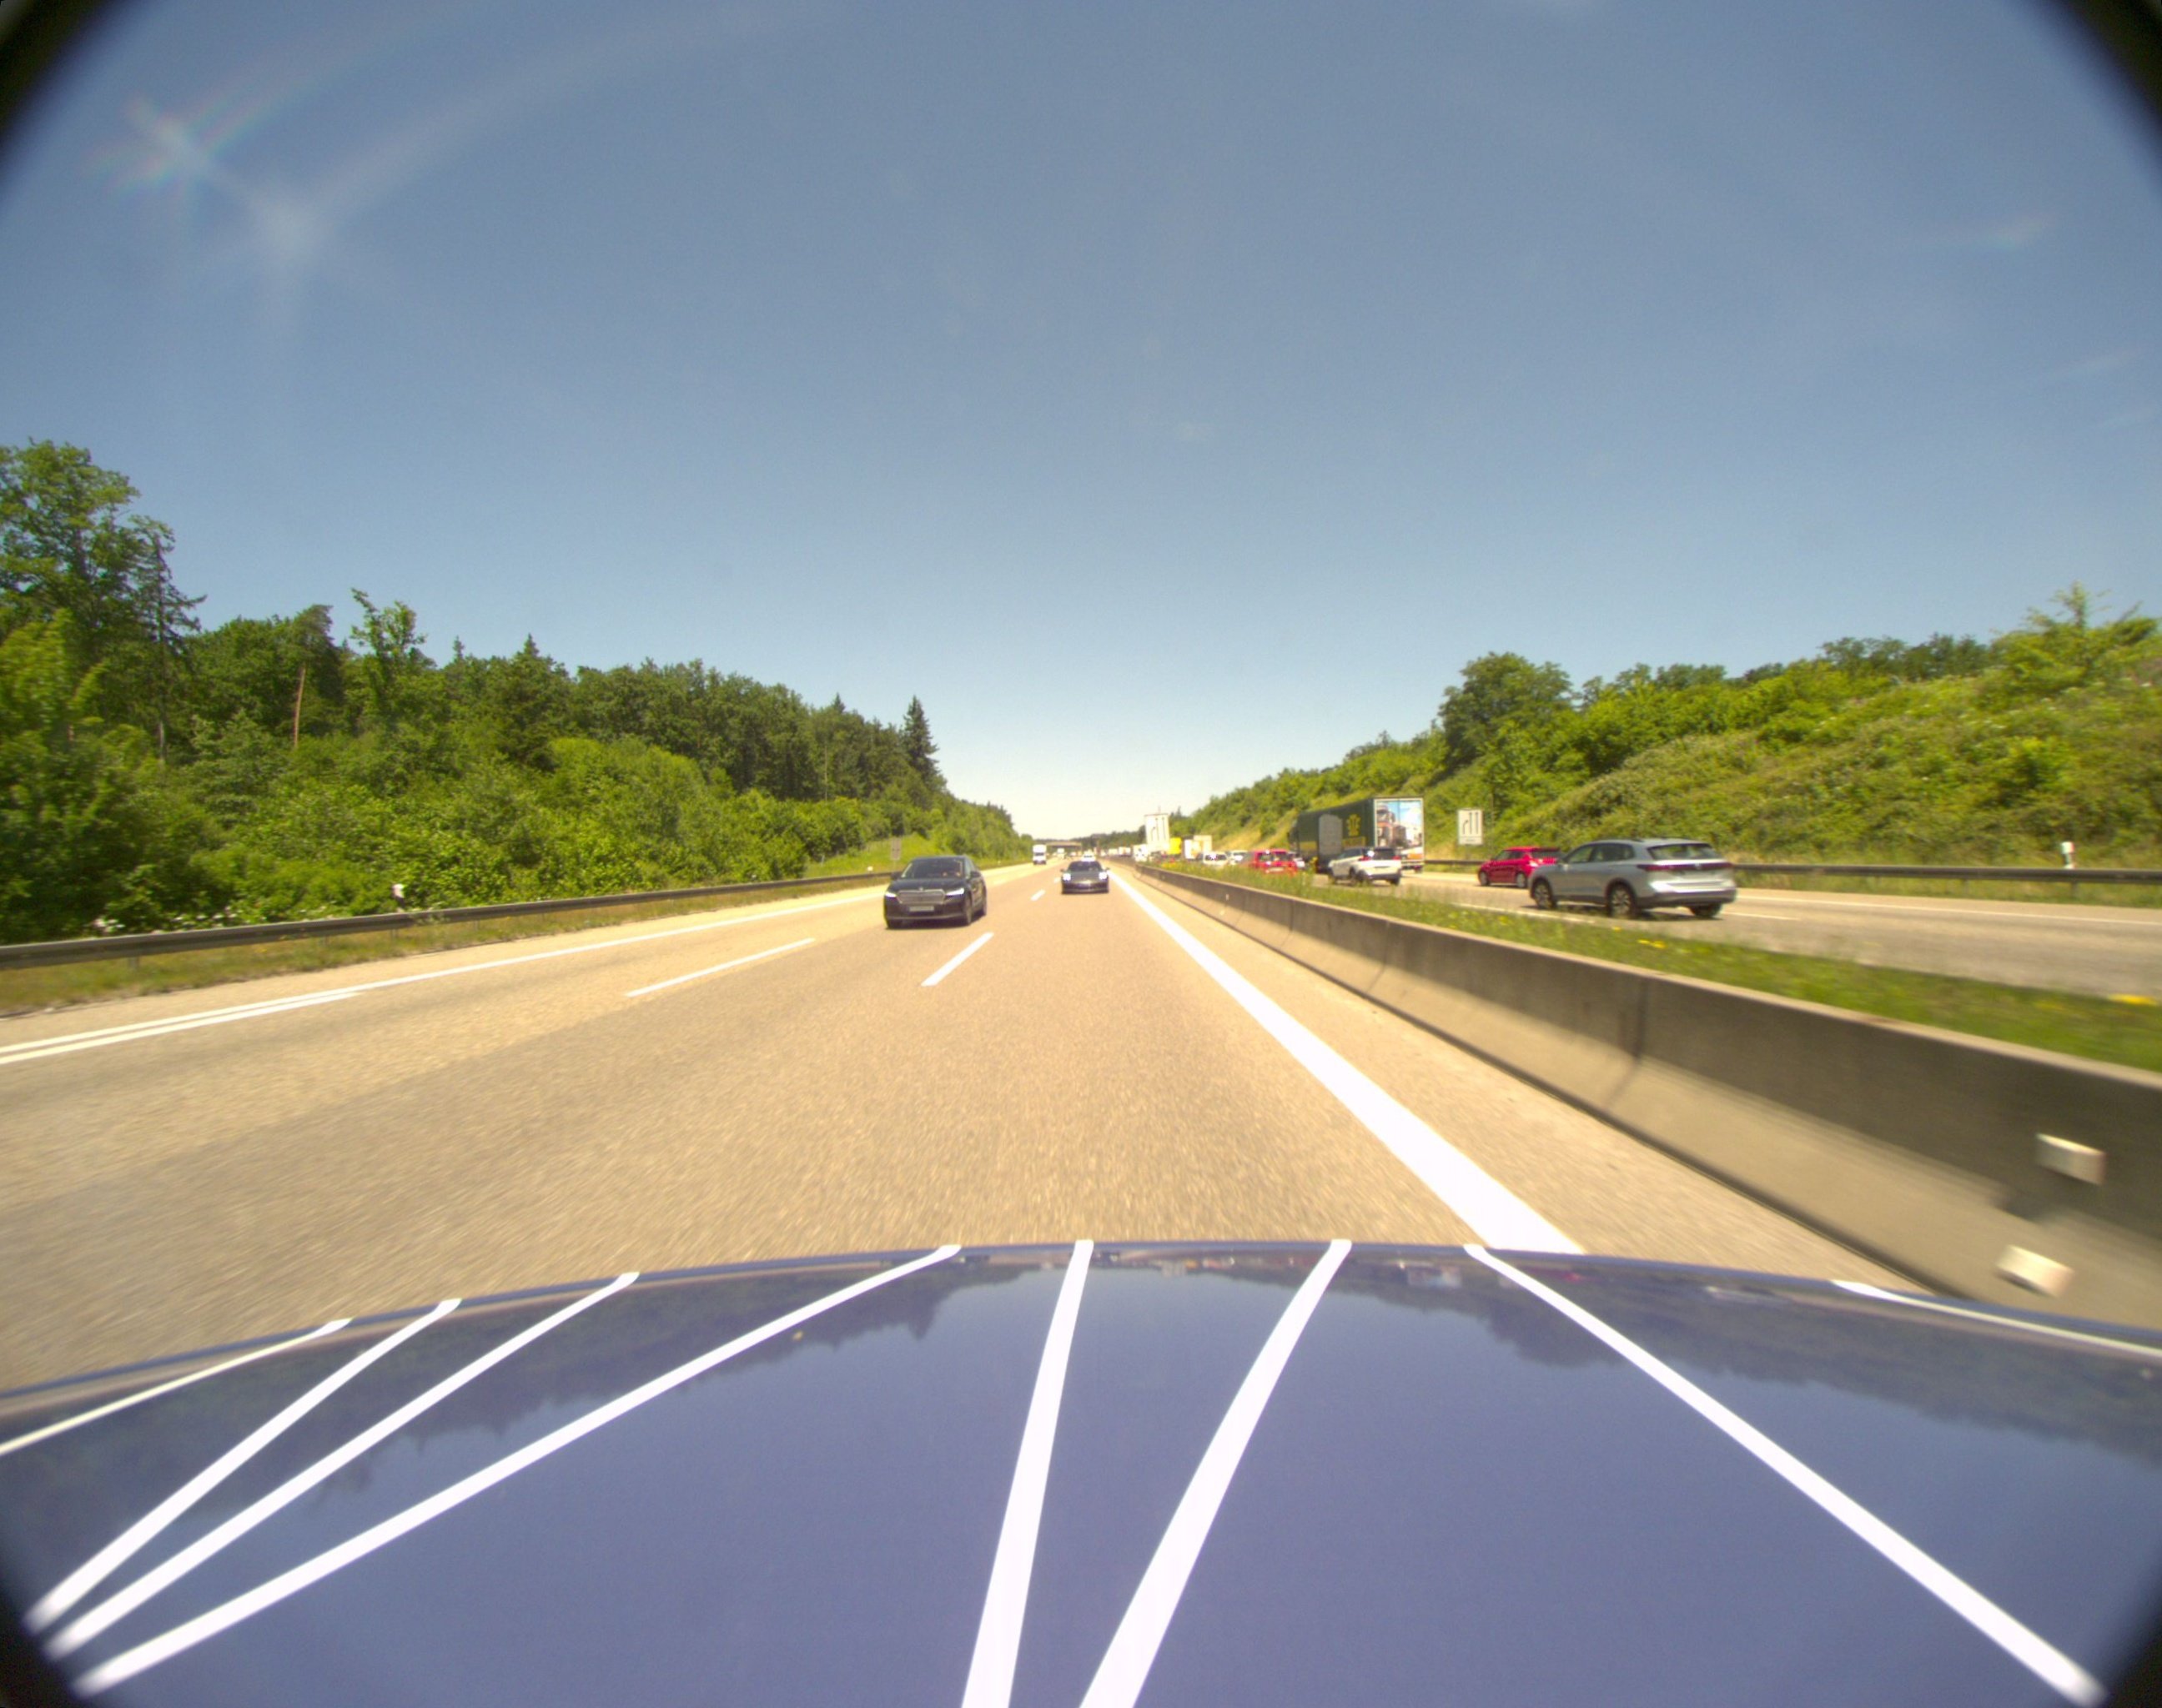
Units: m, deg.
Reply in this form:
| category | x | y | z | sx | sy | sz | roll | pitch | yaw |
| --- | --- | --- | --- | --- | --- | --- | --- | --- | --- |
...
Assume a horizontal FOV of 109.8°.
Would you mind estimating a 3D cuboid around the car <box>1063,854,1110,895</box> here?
| category | x | y | z | sx | sy | sz | roll | pitch | yaw |
| --- | --- | --- | --- | --- | --- | --- | --- | --- | --- |
| car | 0.271 | 0.771 | 31.018 | 1.718 | 1.432 | 4.457 | -2 | 1 | 2 |

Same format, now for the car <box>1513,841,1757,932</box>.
| category | x | y | z | sx | sy | sz | roll | pitch | yaw |
| --- | --- | --- | --- | --- | --- | --- | --- | --- | --- |
| car | 11.683 | 0.555 | 16.567 | 1.816 | 1.620 | 4.908 | -2 | 1 | 1 |

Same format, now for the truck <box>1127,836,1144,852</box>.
| category | x | y | z | sx | sy | sz | roll | pitch | yaw |
| --- | --- | --- | --- | --- | --- | --- | --- | --- | --- |
| truck | 16.147 | -3.055 | 225.801 | 3.706 | 4.431 | 17.377 | -2 | 1 | 0 |

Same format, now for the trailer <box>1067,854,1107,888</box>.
| category | x | y | z | sx | sy | sz | roll | pitch | yaw |
| --- | --- | --- | --- | --- | --- | --- | --- | --- | --- |
| trailer | 0.312 | 0.735 | 34.319 | 1.689 | 1.399 | 3.046 | -1 | 0 | 2 |

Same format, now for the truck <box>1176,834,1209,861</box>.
| category | x | y | z | sx | sy | sz | roll | pitch | yaw |
| --- | --- | --- | --- | --- | --- | --- | --- | --- | --- |
| truck | 12.670 | -0.785 | 86.925 | 2.575 | 2.829 | 6.751 | -2 | 1 | 0 |

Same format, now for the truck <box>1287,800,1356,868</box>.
| category | x | y | z | sx | sy | sz | roll | pitch | yaw |
| --- | --- | --- | --- | --- | --- | --- | --- | --- | --- |
| truck | 16.062 | -1.327 | 51.130 | 2.826 | 4.179 | 5.628 | -2 | 1 | 1 |

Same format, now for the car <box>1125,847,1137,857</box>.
| category | x | y | z | sx | sy | sz | roll | pitch | yaw |
| --- | --- | --- | --- | --- | --- | --- | --- | --- | --- |
| car | 9.387 | -0.484 | 144.176 | 1.832 | 1.754 | 4.989 | -2 | 1 | -1 |

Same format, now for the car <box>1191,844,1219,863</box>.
| category | x | y | z | sx | sy | sz | roll | pitch | yaw |
| --- | --- | --- | --- | --- | --- | --- | --- | --- | --- |
| car | 12.290 | -0.100 | 75.725 | 1.832 | 1.754 | 4.989 | -2 | 1 | -1 |

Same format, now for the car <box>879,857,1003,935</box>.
| category | x | y | z | sx | sy | sz | roll | pitch | yaw |
| --- | --- | --- | --- | --- | --- | --- | --- | --- | --- |
| car | -3.252 | 0.909 | 18.570 | 1.989 | 1.609 | 4.458 | -2 | 0 | 2 |

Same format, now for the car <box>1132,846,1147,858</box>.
| category | x | y | z | sx | sy | sz | roll | pitch | yaw |
| --- | --- | --- | --- | --- | --- | --- | --- | --- | --- |
| car | 8.662 | -0.316 | 112.904 | 1.832 | 1.754 | 4.989 | -2 | 1 | -1 |

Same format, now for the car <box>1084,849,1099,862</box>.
| category | x | y | z | sx | sy | sz | roll | pitch | yaw |
| --- | --- | --- | --- | --- | --- | --- | --- | --- | --- |
| car | 1.297 | 0.171 | 94.305 | 1.719 | 1.432 | 4.456 | -1 | 1 | 0 |

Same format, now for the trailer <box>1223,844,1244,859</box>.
| category | x | y | z | sx | sy | sz | roll | pitch | yaw |
| --- | --- | --- | --- | --- | --- | --- | --- | --- | --- |
| trailer | 16.812 | -0.316 | 83.975 | 1.698 | 1.578 | 3.221 | -2 | 1 | 0 |

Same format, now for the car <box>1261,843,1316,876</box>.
| category | x | y | z | sx | sy | sz | roll | pitch | yaw |
| --- | --- | --- | --- | --- | --- | --- | --- | --- | --- |
| car | 12.247 | 0.267 | 45.158 | 1.832 | 1.754 | 4.989 | -2 | 1 | -1 |

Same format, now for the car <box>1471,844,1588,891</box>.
| category | x | y | z | sx | sy | sz | roll | pitch | yaw |
| --- | --- | --- | --- | --- | --- | --- | --- | --- | --- |
| car | 16.006 | 0.433 | 27.359 | 1.816 | 1.458 | 4.122 | -2 | 1 | 1 |

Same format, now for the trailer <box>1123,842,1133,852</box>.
| category | x | y | z | sx | sy | sz | roll | pitch | yaw |
| --- | --- | --- | --- | --- | --- | --- | --- | --- | --- |
| trailer | 16.126 | -2.278 | 262.194 | 2.584 | 3.274 | 11.696 | -2 | 0 | 0 |

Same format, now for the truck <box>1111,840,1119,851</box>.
| category | x | y | z | sx | sy | sz | roll | pitch | yaw |
| --- | --- | --- | --- | --- | --- | --- | --- | --- | --- |
| truck | 9.271 | -2.370 | 207.448 | 2.273 | 2.999 | 6.776 | -2 | 1 | 2 |

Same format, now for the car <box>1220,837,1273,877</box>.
| category | x | y | z | sx | sy | sz | roll | pitch | yaw |
| --- | --- | --- | --- | --- | --- | --- | --- | --- | --- |
| car | 8.901 | 0.138 | 41.152 | 1.998 | 2.002 | 4.000 | -1 | 1 | 1 |

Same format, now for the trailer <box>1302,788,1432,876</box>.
| category | x | y | z | sx | sy | sz | roll | pitch | yaw |
| --- | --- | --- | --- | --- | --- | --- | --- | --- | --- |
| trailer | 16.066 | -1.202 | 44.118 | 2.850 | 4.237 | 12.784 | -2 | 1 | 1 |

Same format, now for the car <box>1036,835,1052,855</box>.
| category | x | y | z | sx | sy | sz | roll | pitch | yaw |
| --- | --- | --- | --- | --- | --- | --- | --- | --- | --- |
| car | -6.408 | -1.558 | 133.076 | 2.303 | 3.317 | 7.620 | -2 | 1 | -1 |

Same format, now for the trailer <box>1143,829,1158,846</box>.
| category | x | y | z | sx | sy | sz | roll | pitch | yaw |
| --- | --- | --- | --- | --- | --- | --- | --- | --- | --- |
| trailer | 17.291 | -4.050 | 188.716 | 2.617 | 3.711 | 10.681 | -2 | 0 | 0 |

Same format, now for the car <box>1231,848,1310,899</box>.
| category | x | y | z | sx | sy | sz | roll | pitch | yaw |
| --- | --- | --- | --- | --- | --- | --- | --- | --- | --- |
| car | 7.469 | 0.711 | 30.435 | 1.832 | 1.754 | 4.989 | -2 | 1 | -1 |

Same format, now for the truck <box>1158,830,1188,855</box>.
| category | x | y | z | sx | sy | sz | roll | pitch | yaw |
| --- | --- | --- | --- | --- | --- | --- | --- | --- | --- |
| truck | 17.493 | -2.255 | 145.486 | 3.705 | 4.431 | 16.672 | -2 | 1 | 1 |

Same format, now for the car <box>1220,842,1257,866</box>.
| category | x | y | z | sx | sy | sz | roll | pitch | yaw |
| --- | --- | --- | --- | --- | --- | --- | --- | --- | --- |
| car | 12.634 | -0.022 | 61.098 | 1.832 | 1.754 | 4.989 | -2 | 1 | -1 |

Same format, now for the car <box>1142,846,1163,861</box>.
| category | x | y | z | sx | sy | sz | roll | pitch | yaw |
| --- | --- | --- | --- | --- | --- | --- | --- | --- | --- |
| car | 8.277 | -0.116 | 88.587 | 1.832 | 1.556 | 5.110 | -2 | 1 | -1 |

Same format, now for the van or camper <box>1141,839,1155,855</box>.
| category | x | y | z | sx | sy | sz | roll | pitch | yaw |
| --- | --- | --- | --- | --- | --- | --- | --- | --- | --- |
| van or camper | 12.898 | -1.306 | 146.560 | 2.202 | 2.922 | 7.534 | -2 | 1 | 2 |

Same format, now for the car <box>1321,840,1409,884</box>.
| category | x | y | z | sx | sy | sz | roll | pitch | yaw |
| --- | --- | --- | --- | --- | --- | --- | --- | --- | --- |
| car | 11.851 | 0.273 | 32.096 | 1.816 | 1.620 | 5.218 | -2 | 1 | 1 |

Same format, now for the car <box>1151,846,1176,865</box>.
| category | x | y | z | sx | sy | sz | roll | pitch | yaw |
| --- | --- | --- | --- | --- | --- | --- | --- | --- | --- |
| car | 8.168 | 0.100 | 75.974 | 1.832 | 1.754 | 4.989 | -2 | 1 | -1 |

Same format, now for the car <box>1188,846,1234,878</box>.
| category | x | y | z | sx | sy | sz | roll | pitch | yaw |
| --- | --- | --- | --- | --- | --- | --- | --- | --- | --- |
| car | 7.925 | 0.415 | 46.697 | 1.832 | 1.754 | 4.989 | -2 | 1 | -1 |

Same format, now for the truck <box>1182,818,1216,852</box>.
| category | x | y | z | sx | sy | sz | roll | pitch | yaw |
| --- | --- | --- | --- | --- | --- | --- | --- | --- | --- |
| truck | 17.141 | -2.728 | 111.099 | 3.002 | 4.517 | 13.923 | -2 | 1 | 2 |
